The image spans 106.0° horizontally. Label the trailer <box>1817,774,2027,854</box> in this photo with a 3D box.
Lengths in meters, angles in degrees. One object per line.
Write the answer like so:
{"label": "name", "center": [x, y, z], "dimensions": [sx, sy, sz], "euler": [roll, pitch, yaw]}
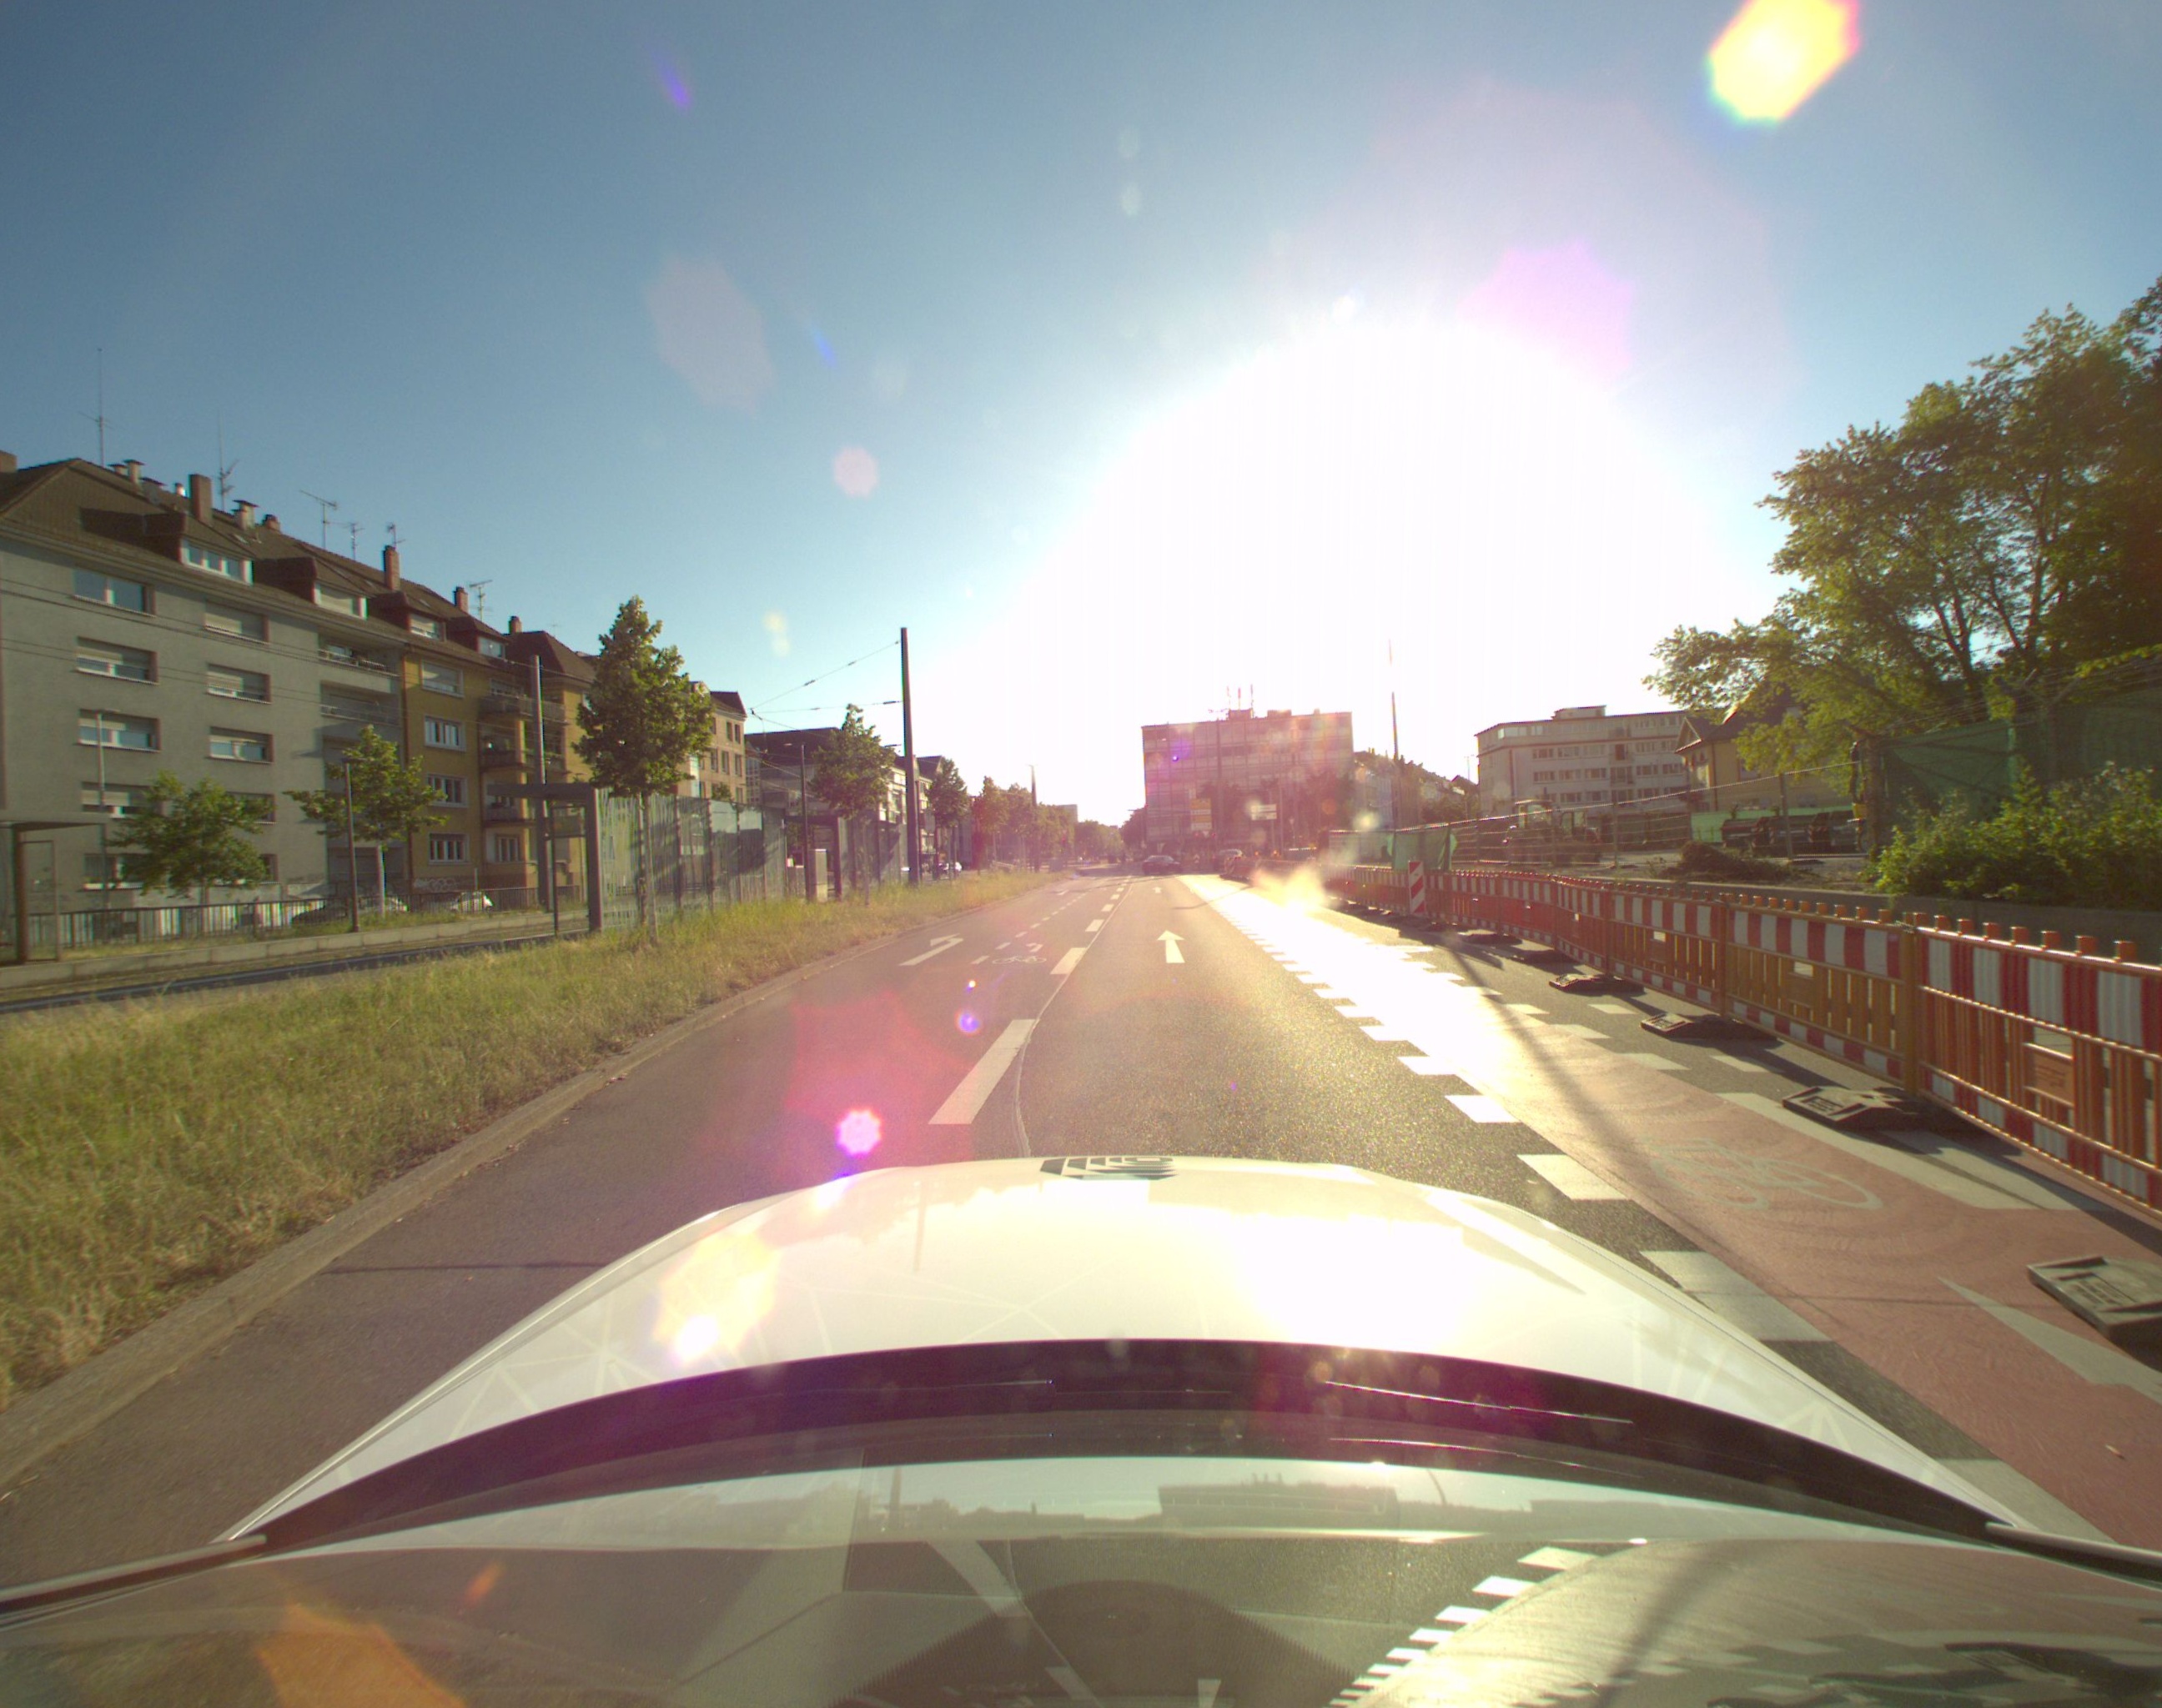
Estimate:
{"label": "trailer", "center": [30.296, -1.388, 29.487], "dimensions": [5.013, 2.323, 2.223], "euler": [-3, -5, 0]}

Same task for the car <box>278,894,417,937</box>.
{"label": "car", "center": [-32.810, 2.705, 36.648], "dimensions": [1.985, 1.508, 4.436], "euler": [-3, 0, 4]}

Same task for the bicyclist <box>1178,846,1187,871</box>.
{"label": "bicyclist", "center": [8.338, 0.340, 66.924], "dimensions": [0.640, 2.013, 1.069], "euler": [-1, 1, 5]}

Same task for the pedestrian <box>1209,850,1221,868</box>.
{"label": "pedestrian", "center": [11.811, 0.430, 71.676], "dimensions": [0.874, 1.597, 0.656], "euler": [-3, 0, 4]}

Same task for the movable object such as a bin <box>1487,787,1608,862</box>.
{"label": "movable object such as a bin", "center": [18.785, -1.118, 33.138], "dimensions": [2.266, 2.703, 4.948], "euler": [-3, 0, 4]}

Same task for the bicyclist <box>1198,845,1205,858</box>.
{"label": "bicyclist", "center": [15.862, -0.314, 107.303], "dimensions": [0.662, 1.712, 0.537], "euler": [-3, 0, -6]}

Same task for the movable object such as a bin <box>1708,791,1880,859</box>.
{"label": "movable object such as a bin", "center": [29.901, -1.162, 34.303], "dimensions": [5.013, 2.323, 2.223], "euler": [-3, -5, 0]}

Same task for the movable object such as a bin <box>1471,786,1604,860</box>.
{"label": "movable object such as a bin", "center": [24.798, -1.597, 44.426], "dimensions": [6.003, 3.557, 2.880], "euler": [-3, 0, 29]}

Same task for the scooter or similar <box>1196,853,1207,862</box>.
{"label": "scooter or similar", "center": [15.126, 0.478, 102.153], "dimensions": [1.170, 1.072, 0.529], "euler": [-3, 0, -6]}

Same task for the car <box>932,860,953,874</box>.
{"label": "car", "center": [-21.091, 1.986, 123.800], "dimensions": [1.983, 1.859, 4.008], "euler": [-3, 0, 7]}

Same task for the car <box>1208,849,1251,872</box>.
{"label": "car", "center": [11.884, 0.495, 65.053], "dimensions": [1.974, 1.693, 4.026], "euler": [-1, 1, 31]}

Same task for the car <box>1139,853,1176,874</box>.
{"label": "car", "center": [5.802, 0.680, 61.570], "dimensions": [1.729, 1.426, 4.021], "euler": [-3, 0, 21]}

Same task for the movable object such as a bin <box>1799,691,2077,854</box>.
{"label": "movable object such as a bin", "center": [17.638, -1.518, 17.107], "dimensions": [1.981, 2.904, 4.013], "euler": [-3, 0, 11]}

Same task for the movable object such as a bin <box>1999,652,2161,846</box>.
{"label": "movable object such as a bin", "center": [21.184, -2.002, 15.203], "dimensions": [2.262, 3.557, 5.513], "euler": [-3, 0, 9]}

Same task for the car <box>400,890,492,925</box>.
{"label": "car", "center": [-32.522, 2.699, 41.832], "dimensions": [1.739, 1.486, 3.556], "euler": [-4, 0, 4]}

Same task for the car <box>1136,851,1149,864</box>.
{"label": "car", "center": [12.347, 0.728, 164.484], "dimensions": [2.475, 2.392, 5.940], "euler": [-4, -1, 4]}

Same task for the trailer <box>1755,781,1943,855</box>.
{"label": "trailer", "center": [29.980, -1.364, 31.926], "dimensions": [5.013, 2.323, 2.223], "euler": [-3, -5, 0]}

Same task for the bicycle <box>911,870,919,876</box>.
{"label": "bicycle", "center": [-24.162, 2.767, 118.552], "dimensions": [0.595, 0.915, 1.839], "euler": [-3, 0, 6]}

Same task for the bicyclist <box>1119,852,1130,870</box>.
{"label": "bicyclist", "center": [4.307, 0.688, 80.001], "dimensions": [0.953, 1.661, 0.692], "euler": [-2, 0, 7]}

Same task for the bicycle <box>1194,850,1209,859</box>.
{"label": "bicycle", "center": [15.872, 0.020, 107.299], "dimensions": [1.729, 1.059, 0.538], "euler": [-3, 0, -6]}

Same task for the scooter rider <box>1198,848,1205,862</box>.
{"label": "scooter rider", "center": [15.085, 0.149, 102.151], "dimensions": [0.662, 1.712, 0.525], "euler": [-3, 0, -6]}

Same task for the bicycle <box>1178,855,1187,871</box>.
{"label": "bicycle", "center": [8.305, 0.726, 66.830], "dimensions": [0.641, 1.223, 2.051], "euler": [-1, 2, 5]}

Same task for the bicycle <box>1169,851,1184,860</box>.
{"label": "bicycle", "center": [12.077, 0.218, 102.944], "dimensions": [1.773, 1.072, 0.534], "euler": [-3, 0, -6]}

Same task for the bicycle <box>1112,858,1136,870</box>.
{"label": "bicycle", "center": [4.242, 0.999, 80.009], "dimensions": [2.214, 1.026, 0.683], "euler": [-2, 0, 7]}

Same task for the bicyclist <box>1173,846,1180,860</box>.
{"label": "bicyclist", "center": [12.068, -0.111, 102.950], "dimensions": [0.662, 1.712, 0.537], "euler": [-3, 0, -6]}
